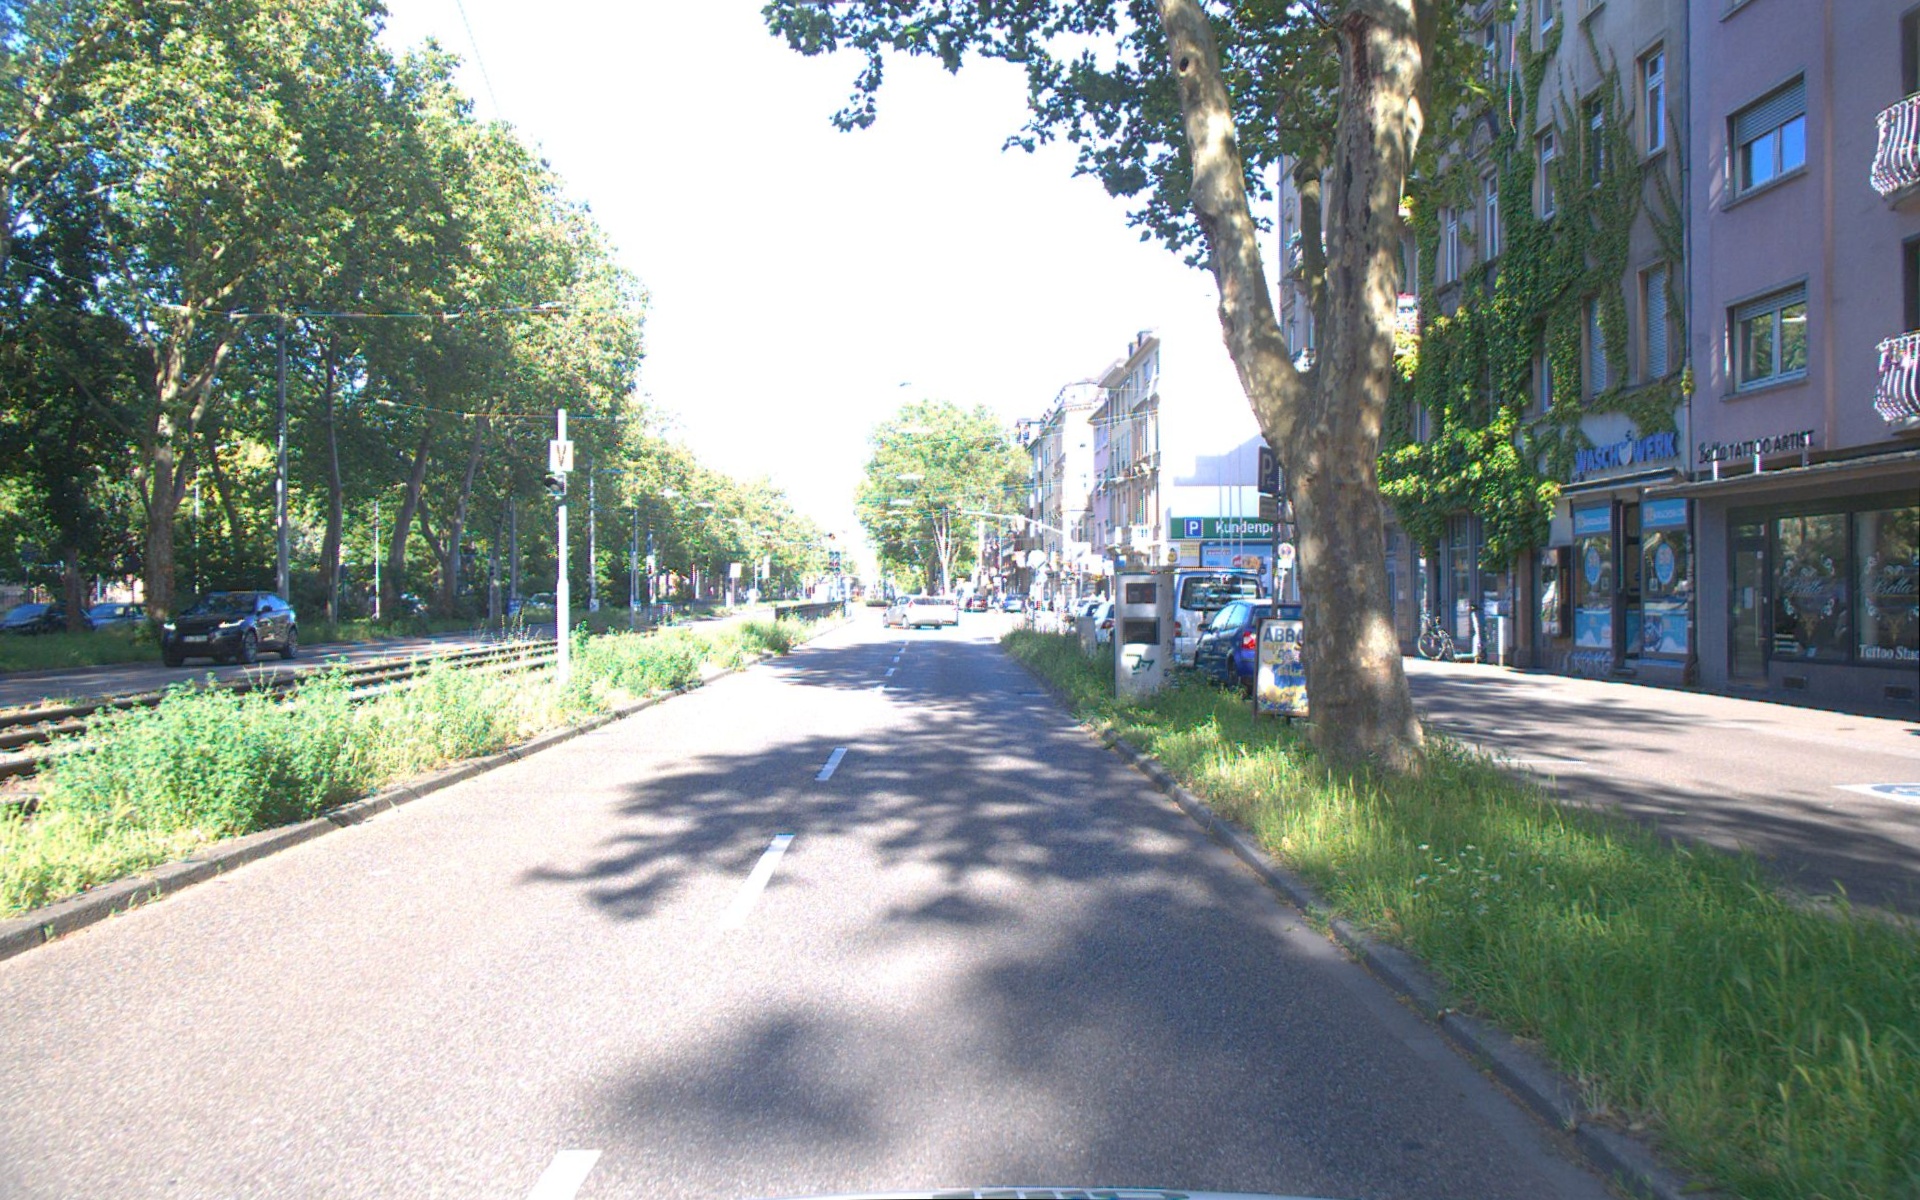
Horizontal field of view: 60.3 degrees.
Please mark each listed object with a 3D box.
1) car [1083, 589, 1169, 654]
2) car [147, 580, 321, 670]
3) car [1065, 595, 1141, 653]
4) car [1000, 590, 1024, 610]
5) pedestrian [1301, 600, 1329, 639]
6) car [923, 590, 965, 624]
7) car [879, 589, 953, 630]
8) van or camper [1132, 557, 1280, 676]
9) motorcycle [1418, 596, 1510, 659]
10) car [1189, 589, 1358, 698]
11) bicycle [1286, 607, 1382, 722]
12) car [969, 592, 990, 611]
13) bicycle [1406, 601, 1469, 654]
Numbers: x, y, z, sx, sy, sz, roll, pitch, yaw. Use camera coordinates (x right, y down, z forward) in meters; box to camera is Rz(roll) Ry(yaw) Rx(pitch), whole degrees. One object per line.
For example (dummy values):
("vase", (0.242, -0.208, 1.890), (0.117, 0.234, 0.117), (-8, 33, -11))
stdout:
("car", (4.073, 0.509, 41.103), (1.649, 1.535, 3.666), (0, 0, -2))
("car", (-17.077, 0.527, 39.192), (1.953, 1.903, 4.872), (-2, 1, -1))
("car", (3.912, 0.634, 45.578), (1.649, 1.535, 3.666), (0, 0, -2))
("car", (4.117, -0.002, 131.925), (1.649, 1.535, 3.665), (0, 0, -3))
("pedestrian", (10.827, 0.582, 50.440), (0.693, 1.171, 0.740), (0, 0, -1))
("car", (-0.829, 0.333, 83.040), (1.981, 1.691, 3.998), (0, 0, -2))
("car", (-1.922, 0.372, 71.077), (1.992, 1.691, 3.976), (0, 0, -21))
("van or camper", (4.424, 0.270, 30.510), (1.802, 1.997, 5.125), (0, 0, -2))
("motorcycle", (11.005, 0.597, 36.145), (1.863, 1.290, 0.555), (2, 0, 45))
("car", (4.717, 0.609, 25.344), (1.650, 1.540, 3.664), (0, 0, -4))
("bicycle", (3.511, 0.585, 15.621), (0.576, 1.008, 1.450), (-1, 1, 0))
("car", (1.548, 0.103, 133.946), (1.648, 1.535, 3.667), (0, 0, 0))
("bicycle", (11.053, 0.612, 38.381), (0.868, 1.154, 2.400), (-1, 0, 3))
